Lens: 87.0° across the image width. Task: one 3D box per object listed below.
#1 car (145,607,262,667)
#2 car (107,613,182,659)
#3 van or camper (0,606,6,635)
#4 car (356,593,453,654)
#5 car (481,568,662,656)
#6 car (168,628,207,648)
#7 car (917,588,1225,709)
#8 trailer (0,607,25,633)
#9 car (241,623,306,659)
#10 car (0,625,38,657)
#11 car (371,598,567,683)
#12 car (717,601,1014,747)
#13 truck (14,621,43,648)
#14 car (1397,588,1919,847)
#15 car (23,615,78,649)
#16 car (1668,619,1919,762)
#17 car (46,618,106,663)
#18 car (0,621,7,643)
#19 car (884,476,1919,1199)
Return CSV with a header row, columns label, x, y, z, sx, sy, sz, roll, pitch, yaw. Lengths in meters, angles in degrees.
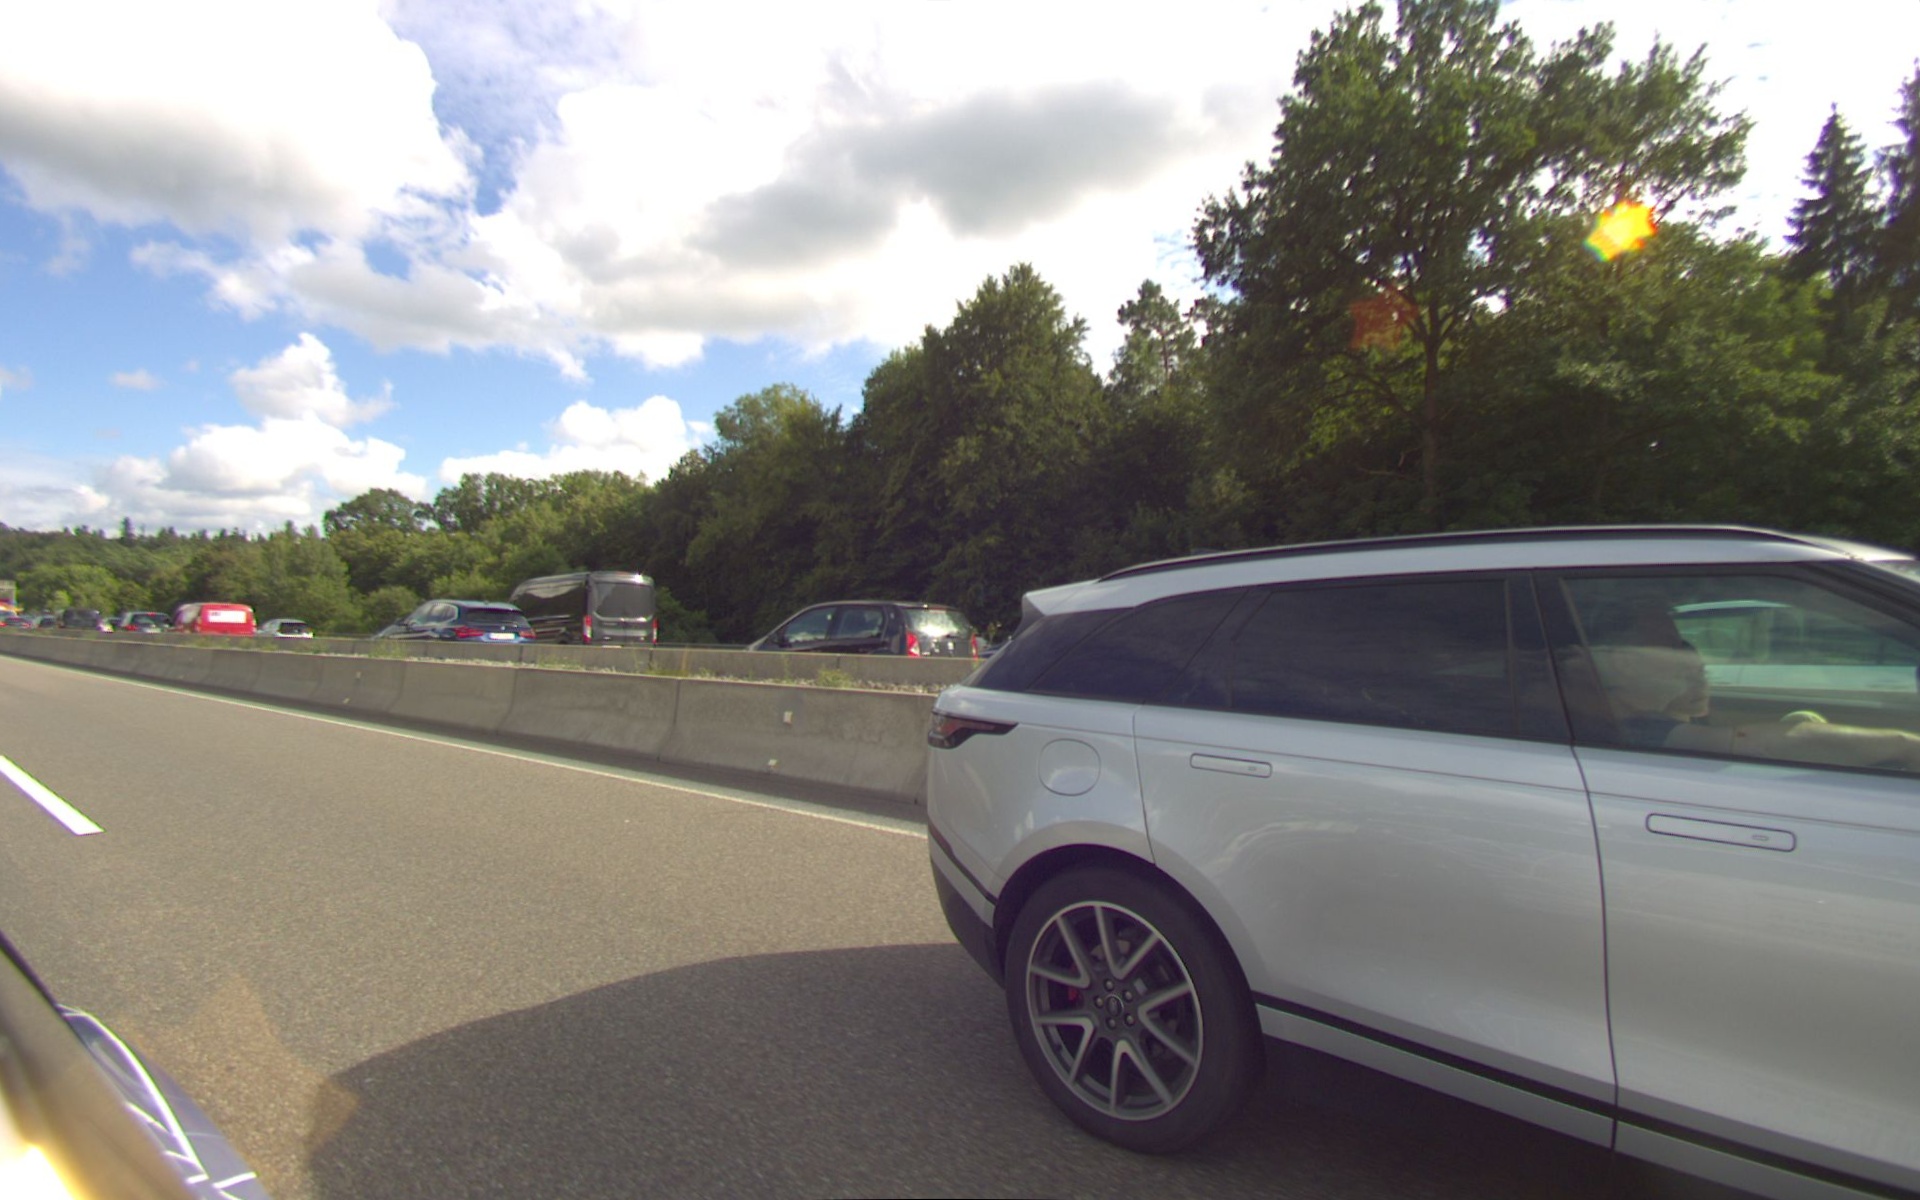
label,x,y,z,sx,sy,sz,roll,pitch,yaw
car,-24.704,1.161,32.978,5.289,1.776,1.857,-1,0,39
car,-34.802,1.494,43.129,4.458,1.776,1.838,0,0,42
van or camper,-108.054,2.295,112.535,6.240,3.196,2.117,-1,0,40
car,-23.559,0.976,42.810,5.328,2.391,1.972,-1,0,42
car,-10.178,0.319,26.221,5.844,2.047,1.972,-1,0,42
car,-63.783,3.116,83.566,5.072,1.411,1.694,1,1,42
car,1.586,0.665,15.478,4.356,1.584,1.972,-1,0,42
trailer,-128.677,2.650,136.046,14.208,3.361,2.700,-1,0,40
car,-37.283,2.184,54.925,4.458,1.776,1.972,-1,-1,42
car,-62.745,2.706,67.146,4.458,1.919,1.972,0,0,42
car,-10.589,0.800,21.634,5.206,1.584,1.972,-1,0,42
car,-1.286,0.845,13.092,3.510,1.584,1.972,-1,0,42
truck,-152.495,5.624,165.719,5.449,4.180,2.783,1,1,40
car,5.856,0.729,7.564,4.356,1.584,1.972,-1,0,42
car,-53.288,1.861,59.283,4.458,1.772,1.972,1,1,42
car,11.465,1.050,12.397,4.356,1.584,1.972,-1,0,42
car,-44.873,2.025,51.357,4.451,2.029,1.797,1,1,42
car,-71.100,2.328,73.792,4.814,1.584,1.972,-1,-2,42
car,2.274,0.608,2.277,5.103,1.619,1.880,0,0,42
